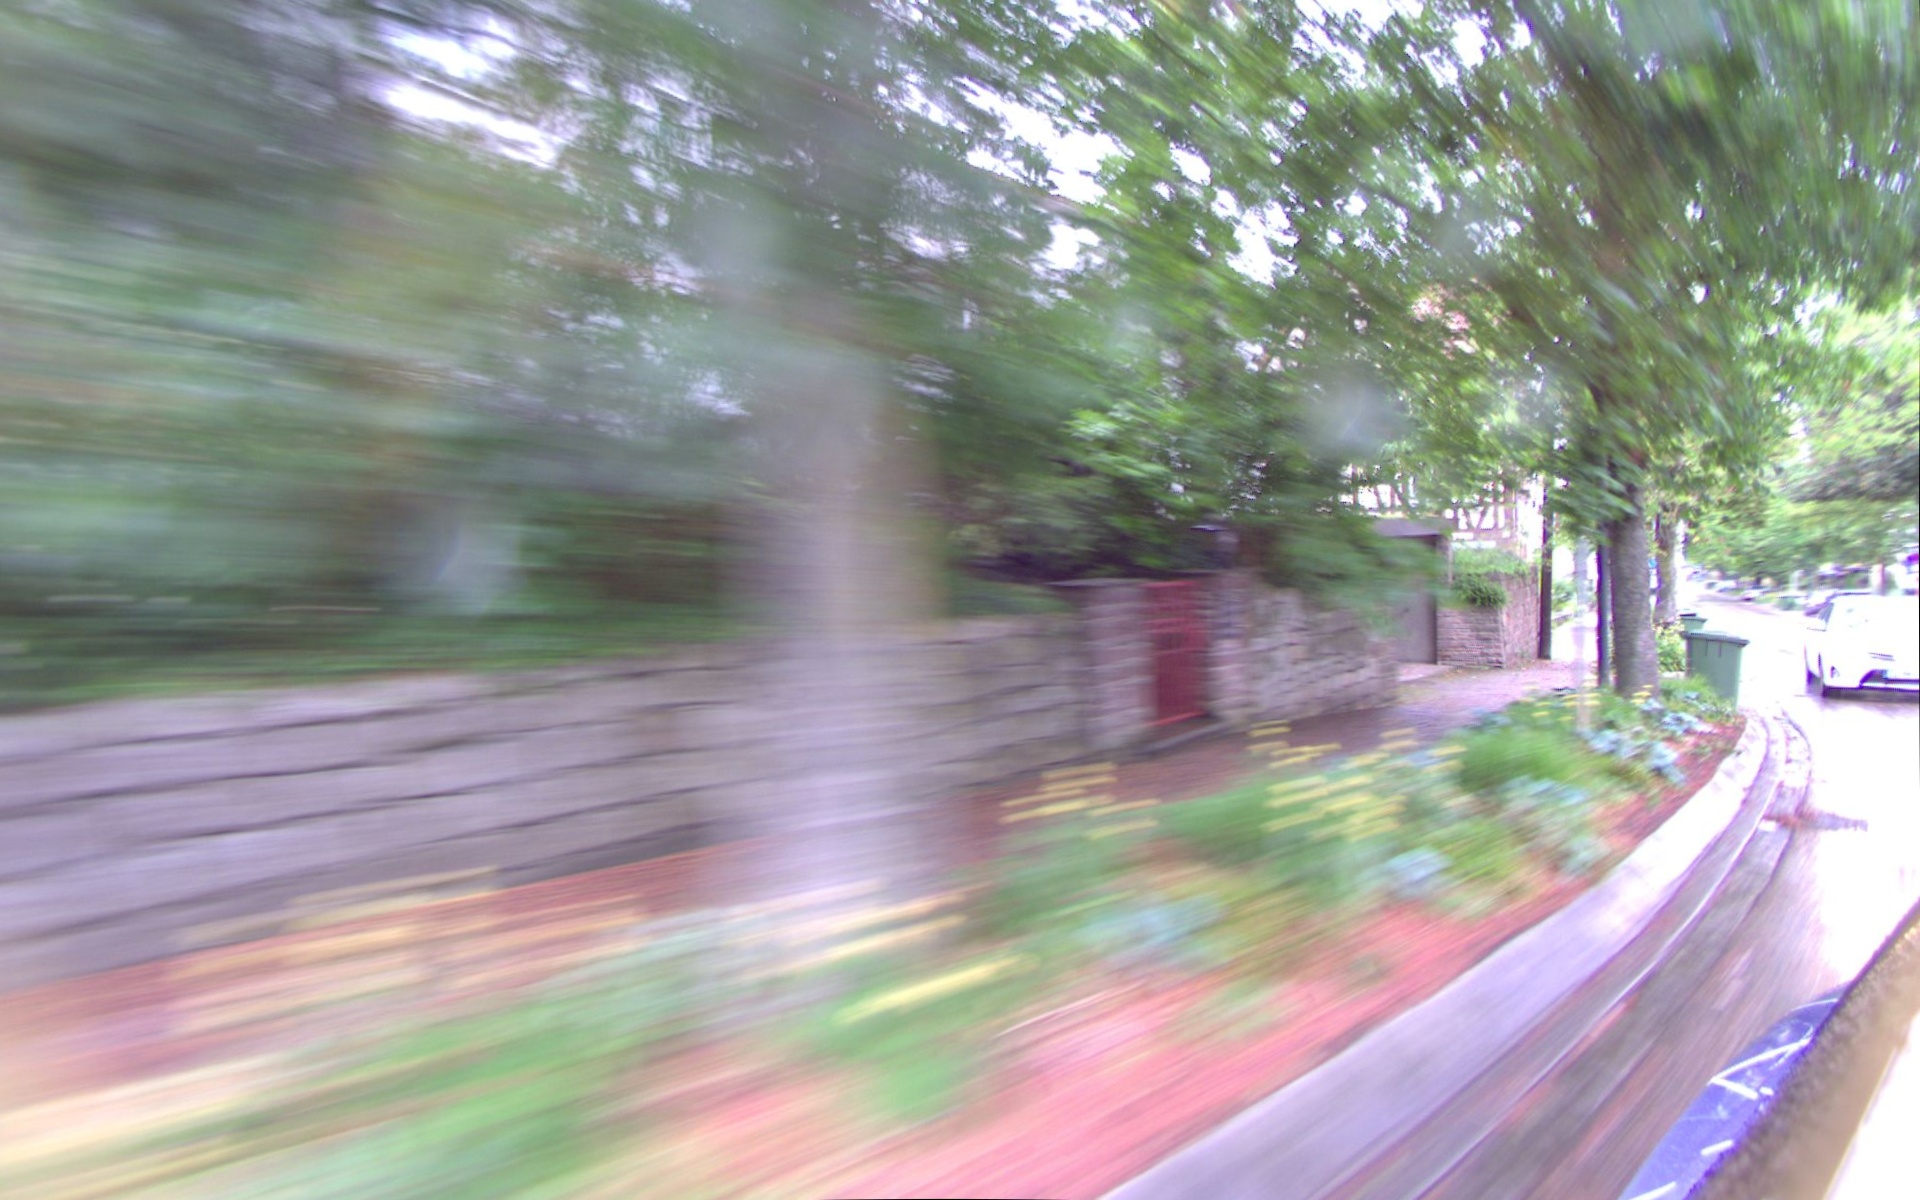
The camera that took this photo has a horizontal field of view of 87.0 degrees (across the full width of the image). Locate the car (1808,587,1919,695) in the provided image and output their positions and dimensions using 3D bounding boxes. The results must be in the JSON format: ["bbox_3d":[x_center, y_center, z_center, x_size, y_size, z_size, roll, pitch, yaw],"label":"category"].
[{"bbox_3d":[14.435,0.553,15.545,1.849,1.453,3.965,-1,0,36],"label":"car"}]
